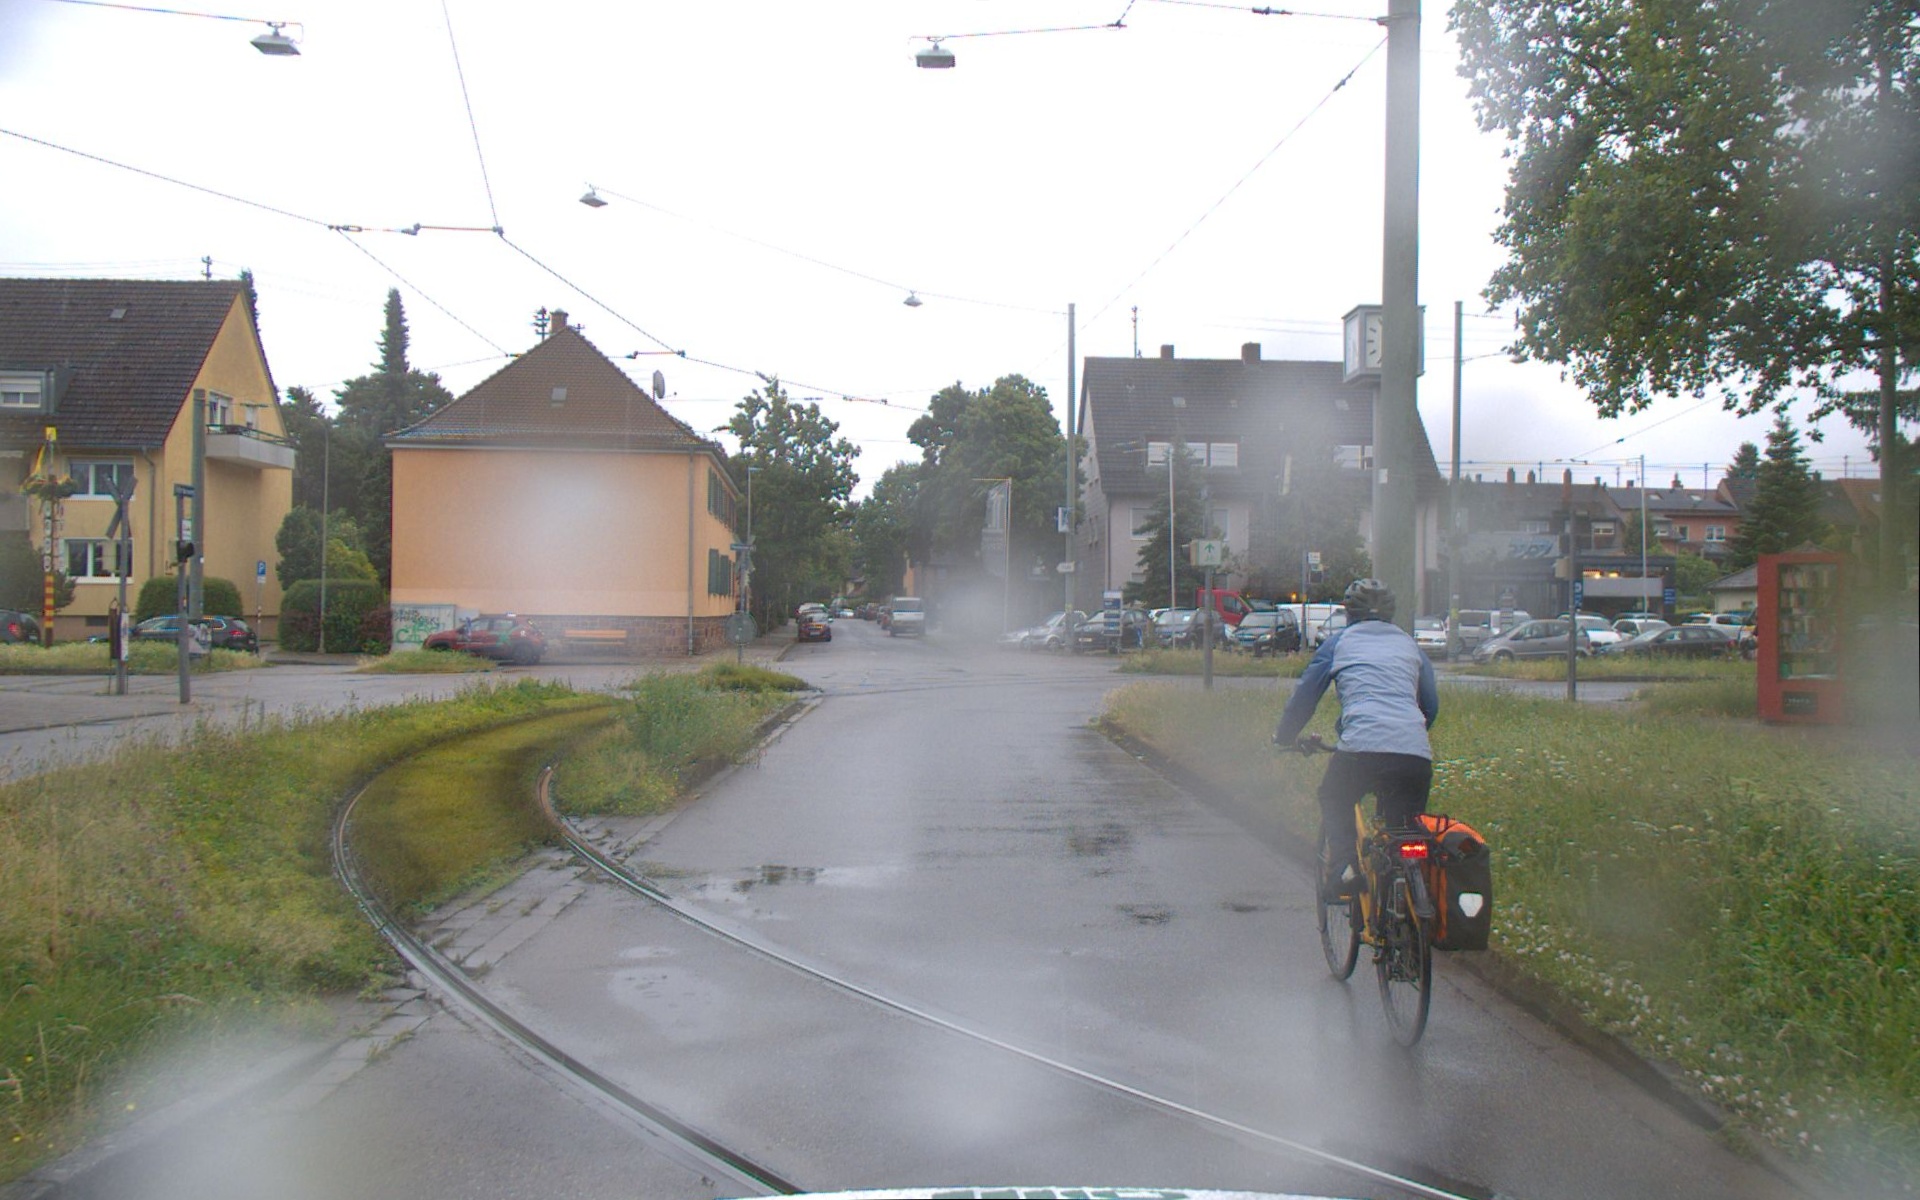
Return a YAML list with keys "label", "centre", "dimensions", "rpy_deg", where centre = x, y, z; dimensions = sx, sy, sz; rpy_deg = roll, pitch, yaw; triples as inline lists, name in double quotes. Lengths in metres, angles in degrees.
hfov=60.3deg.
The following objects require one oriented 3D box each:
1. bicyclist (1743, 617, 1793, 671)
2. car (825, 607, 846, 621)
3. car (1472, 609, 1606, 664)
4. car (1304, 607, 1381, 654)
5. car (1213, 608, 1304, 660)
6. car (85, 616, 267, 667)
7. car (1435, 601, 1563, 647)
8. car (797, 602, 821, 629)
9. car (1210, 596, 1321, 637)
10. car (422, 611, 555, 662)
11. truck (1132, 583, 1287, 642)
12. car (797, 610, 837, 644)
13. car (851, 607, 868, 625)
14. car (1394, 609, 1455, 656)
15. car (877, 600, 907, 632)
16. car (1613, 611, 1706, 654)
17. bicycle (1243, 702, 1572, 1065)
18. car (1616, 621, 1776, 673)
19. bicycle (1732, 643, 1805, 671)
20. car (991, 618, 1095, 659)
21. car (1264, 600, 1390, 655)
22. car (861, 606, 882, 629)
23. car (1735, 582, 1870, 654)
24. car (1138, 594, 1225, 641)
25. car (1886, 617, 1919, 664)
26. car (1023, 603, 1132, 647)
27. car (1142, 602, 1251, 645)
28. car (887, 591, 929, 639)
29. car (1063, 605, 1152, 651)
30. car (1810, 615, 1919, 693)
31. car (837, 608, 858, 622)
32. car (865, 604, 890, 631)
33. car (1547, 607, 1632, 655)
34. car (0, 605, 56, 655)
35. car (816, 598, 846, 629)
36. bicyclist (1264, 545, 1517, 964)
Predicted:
- label: "bicyclist"
  centre: [24.680, 1.329, 50.538]
  dimensions: [1.018, 1.626, 0.949]
  rpy_deg: [0, -1, -4]
- label: "car"
  centre: [-16.650, 1.898, 220.961]
  dimensions: [1.801, 1.727, 4.010]
  rpy_deg: [3, -1, -19]
- label: "car"
  centre: [18.168, 1.137, 51.959]
  dimensions: [3.559, 1.530, 1.722]
  rpy_deg: [2, -1, -3]
- label: "car"
  centre: [13.576, 1.106, 58.564]
  dimensions: [1.792, 1.530, 4.054]
  rpy_deg: [2, -1, 25]
- label: "car"
  centre: [10.582, 1.174, 58.356]
  dimensions: [1.956, 1.747, 3.992]
  rpy_deg: [-1, -1, 30]
- label: "car"
  centre: [-23.103, 1.207, 48.885]
  dimensions: [4.402, 1.420, 1.965]
  rpy_deg: [1, -1, -5]
- label: "car"
  centre: [20.578, 0.934, 63.261]
  dimensions: [4.342, 1.717, 1.760]
  rpy_deg: [0, -1, -1]
- label: "car"
  centre: [-12.188, 1.272, 133.472]
  dimensions: [1.793, 2.049, 3.996]
  rpy_deg: [2, -1, -5]
- label: "car"
  centre: [12.933, 0.699, 70.268]
  dimensions: [4.342, 1.717, 2.000]
  rpy_deg: [0, -1, -1]
- label: "car"
  centre: [-14.237, 1.103, 50.109]
  dimensions: [3.535, 1.362, 1.721]
  rpy_deg: [2, -1, -5]
- label: "truck"
  centre: [10.104, 0.531, 66.961]
  dimensions: [5.954, 2.312, 2.001]
  rpy_deg: [0, -2, 17]
- label: "car"
  centre: [-7.150, 1.332, 82.791]
  dimensions: [1.954, 1.646, 3.996]
  rpy_deg: [0, -1, -5]
- label: "car"
  centre: [-11.994, 1.876, 197.449]
  dimensions: [1.793, 2.049, 3.996]
  rpy_deg: [2, -1, -5]
- label: "car"
  centre: [16.414, 1.155, 58.587]
  dimensions: [1.789, 1.530, 4.061]
  rpy_deg: [2, -1, 12]
- label: "car"
  centre: [-4.710, 1.100, 113.589]
  dimensions: [1.954, 2.049, 3.998]
  rpy_deg: [2, -1, -3]
- label: "car"
  centre: [24.832, 1.138, 58.815]
  dimensions: [1.682, 1.420, 3.842]
  rpy_deg: [2, -1, 1]
- label: "bicycle"
  centre: [1.657, 1.002, 6.472]
  dimensions: [0.737, 1.091, 1.926]
  rpy_deg: [-1, -1, 0]
- label: "car"
  centre: [23.133, 1.470, 52.057]
  dimensions: [4.289, 1.362, 1.721]
  rpy_deg: [4, -1, -5]
- label: "bicycle"
  centre: [24.702, 1.739, 50.544]
  dimensions: [1.778, 0.800, 0.941]
  rpy_deg: [0, -1, -4]
- label: "car"
  centre: [3.355, 1.531, 66.765]
  dimensions: [3.806, 1.606, 1.795]
  rpy_deg: [0, -1, -23]
- label: "car"
  centre: [13.994, 1.049, 63.219]
  dimensions: [4.342, 2.049, 2.000]
  rpy_deg: [0, -1, -1]
- label: "car"
  centre: [-8.138, 1.612, 151.948]
  dimensions: [1.793, 2.049, 3.996]
  rpy_deg: [2, -1, -5]
- label: "car"
  centre: [30.935, 0.663, 60.952]
  dimensions: [2.102, 2.448, 5.146]
  rpy_deg: [2, -1, -3]
- label: "car"
  centre: [7.897, 0.614, 58.694]
  dimensions: [1.768, 1.606, 3.864]
  rpy_deg: [-1, -1, 30]
- label: "car"
  centre: [36.077, 1.396, 59.987]
  dimensions: [3.805, 1.592, 1.999]
  rpy_deg: [-3, 0, -3]
- label: "car"
  centre: [4.516, 0.949, 63.709]
  dimensions: [3.806, 1.606, 1.795]
  rpy_deg: [0, -1, -23]
- label: "car"
  centre: [9.164, 0.932, 64.003]
  dimensions: [3.882, 1.626, 2.001]
  rpy_deg: [0, -2, 17]
- label: "car"
  centre: [-3.033, 0.871, 95.368]
  dimensions: [2.111, 2.617, 4.129]
  rpy_deg: [2, -1, -5]
- label: "car"
  centre: [5.400, 1.010, 60.227]
  dimensions: [1.768, 1.606, 3.864]
  rpy_deg: [-1, -1, 30]
- label: "car"
  centre: [19.210, 1.045, 32.550]
  dimensions: [1.781, 1.502, 4.131]
  rpy_deg: [0, -1, -32]
- label: "car"
  centre: [-14.665, 1.933, 215.625]
  dimensions: [1.801, 1.727, 4.010]
  rpy_deg: [3, -1, -19]
- label: "car"
  centre: [-6.679, 1.383, 133.208]
  dimensions: [1.793, 2.049, 3.996]
  rpy_deg: [2, -1, -5]
- label: "car"
  centre: [22.394, 1.100, 58.951]
  dimensions: [1.682, 1.600, 3.617]
  rpy_deg: [2, -1, 1]
- label: "car"
  centre: [-28.644, 0.805, 47.854]
  dimensions: [3.910, 1.355, 1.758]
  rpy_deg: [2, -1, -6]
- label: "car"
  centre: [-9.125, 0.946, 117.163]
  dimensions: [1.954, 2.049, 3.998]
  rpy_deg: [2, -1, -3]
- label: "bicyclist"
  centre: [1.645, 0.563, 6.441]
  dimensions: [0.735, 1.511, 0.846]
  rpy_deg: [-1, -1, -1]
